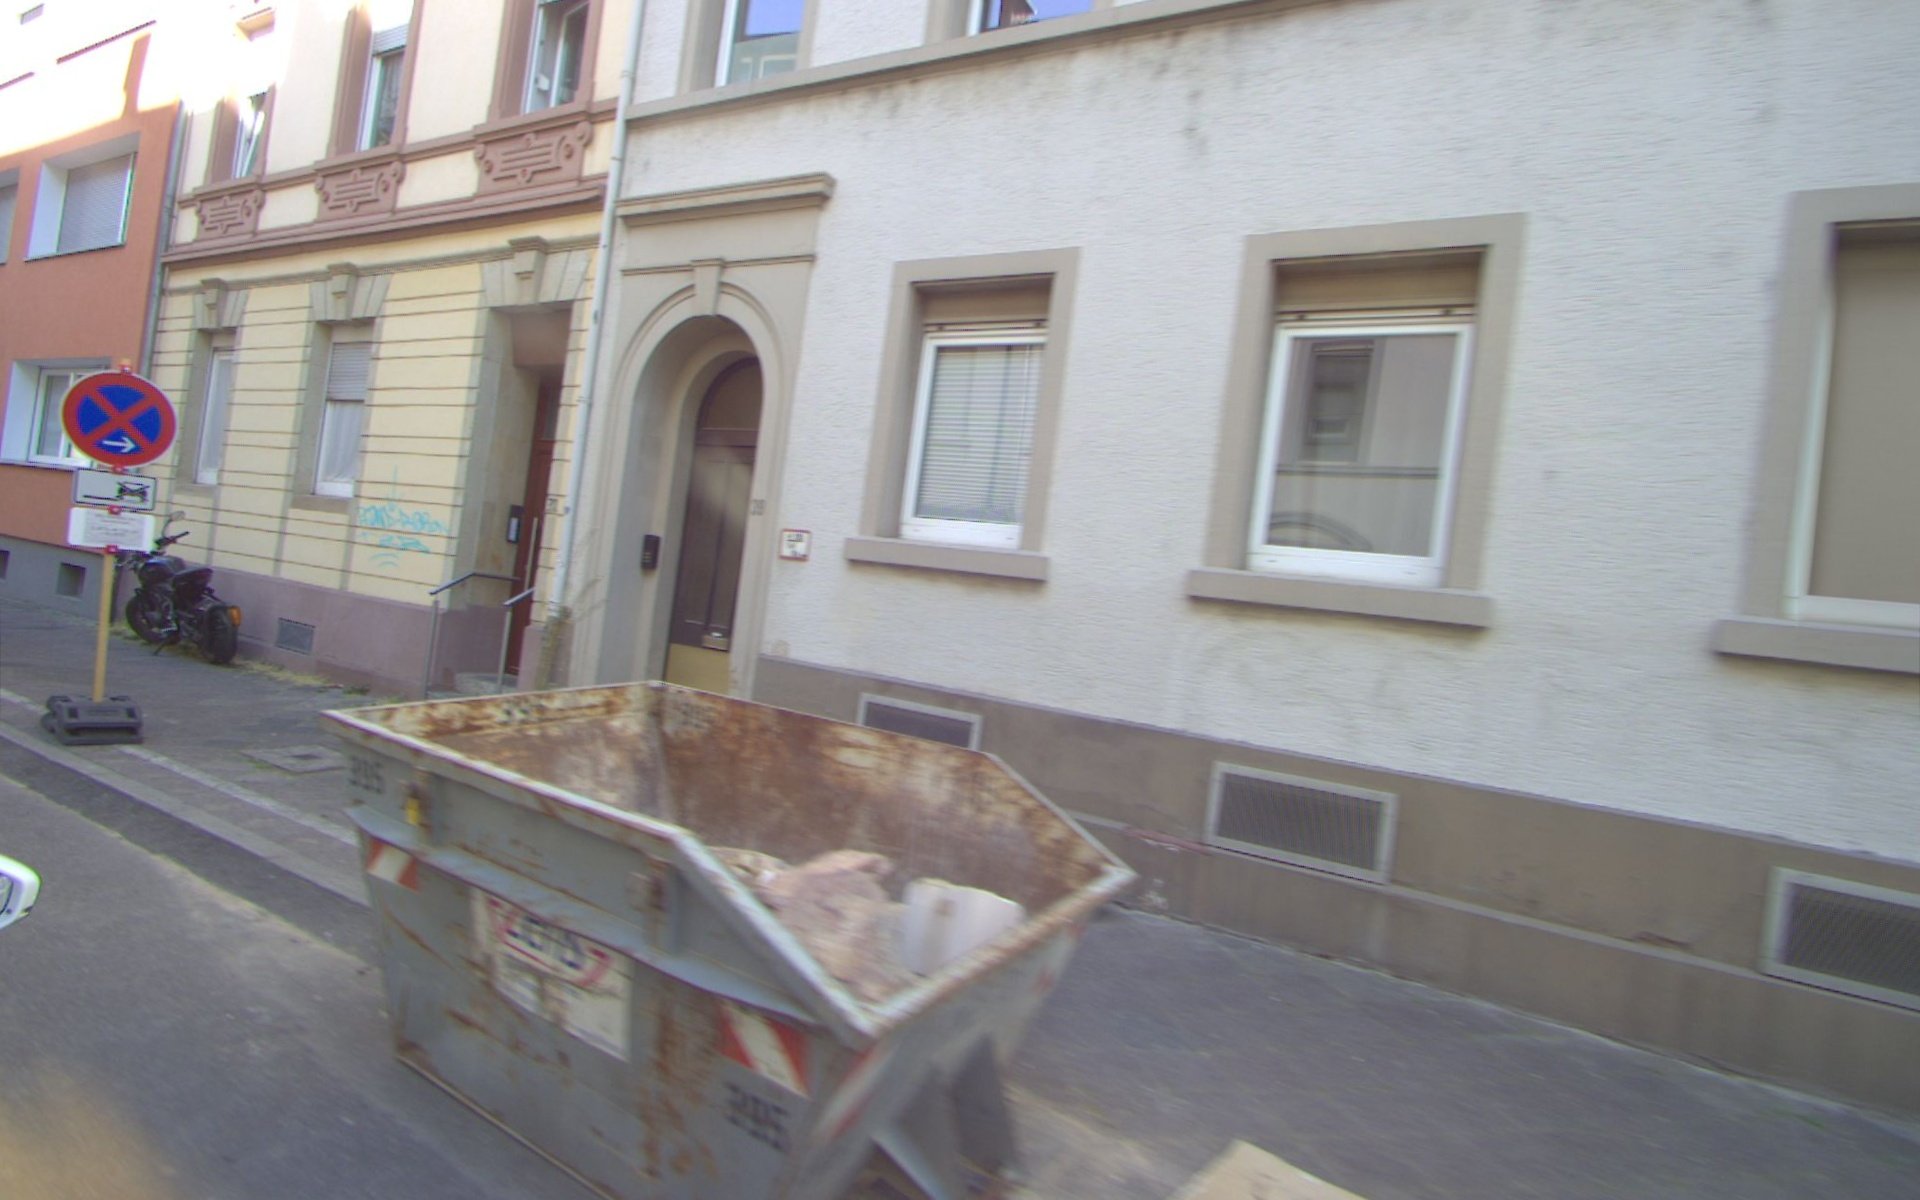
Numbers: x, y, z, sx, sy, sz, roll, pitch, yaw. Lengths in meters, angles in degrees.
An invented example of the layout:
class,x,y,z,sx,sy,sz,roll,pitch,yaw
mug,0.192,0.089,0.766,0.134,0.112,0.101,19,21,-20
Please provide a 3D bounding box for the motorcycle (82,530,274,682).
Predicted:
class,x,y,z,sx,sy,sz,roll,pitch,yaw
motorcycle,-7.789,0.014,9.956,2.714,1.203,0.596,7,3,33

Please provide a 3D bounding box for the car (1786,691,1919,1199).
class,x,y,z,sx,sy,sz,roll,pitch,yaw
car,3.214,1.148,0.300,4.303,1.595,1.743,8,-1,30
